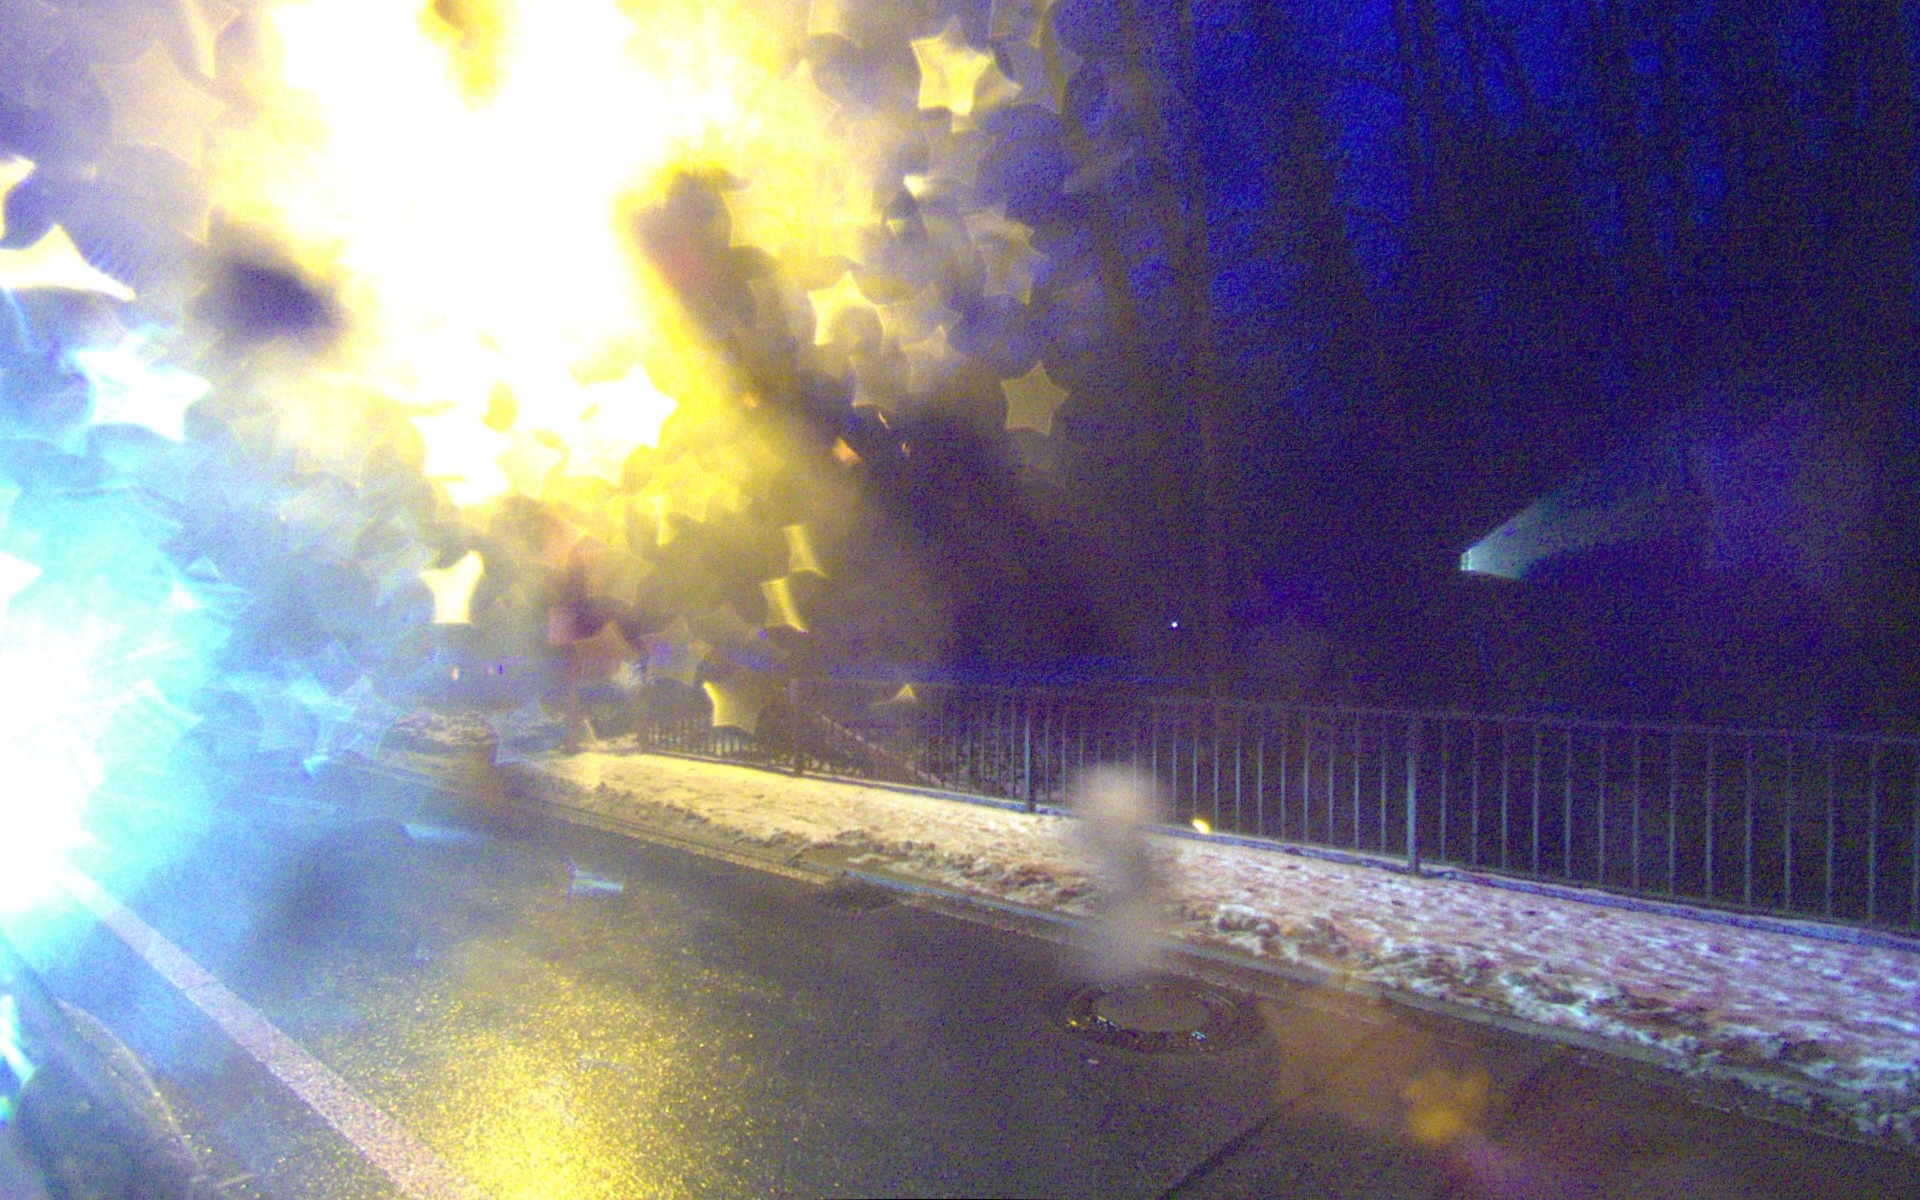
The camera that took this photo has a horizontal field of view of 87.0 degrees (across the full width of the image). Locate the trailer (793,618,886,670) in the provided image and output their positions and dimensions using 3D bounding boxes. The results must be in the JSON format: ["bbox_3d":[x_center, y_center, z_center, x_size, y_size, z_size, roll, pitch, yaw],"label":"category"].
[{"bbox_3d":[-5.679,2.074,47.689,3.745,2.234,1.980,4,-2,-31],"label":"trailer"}]
